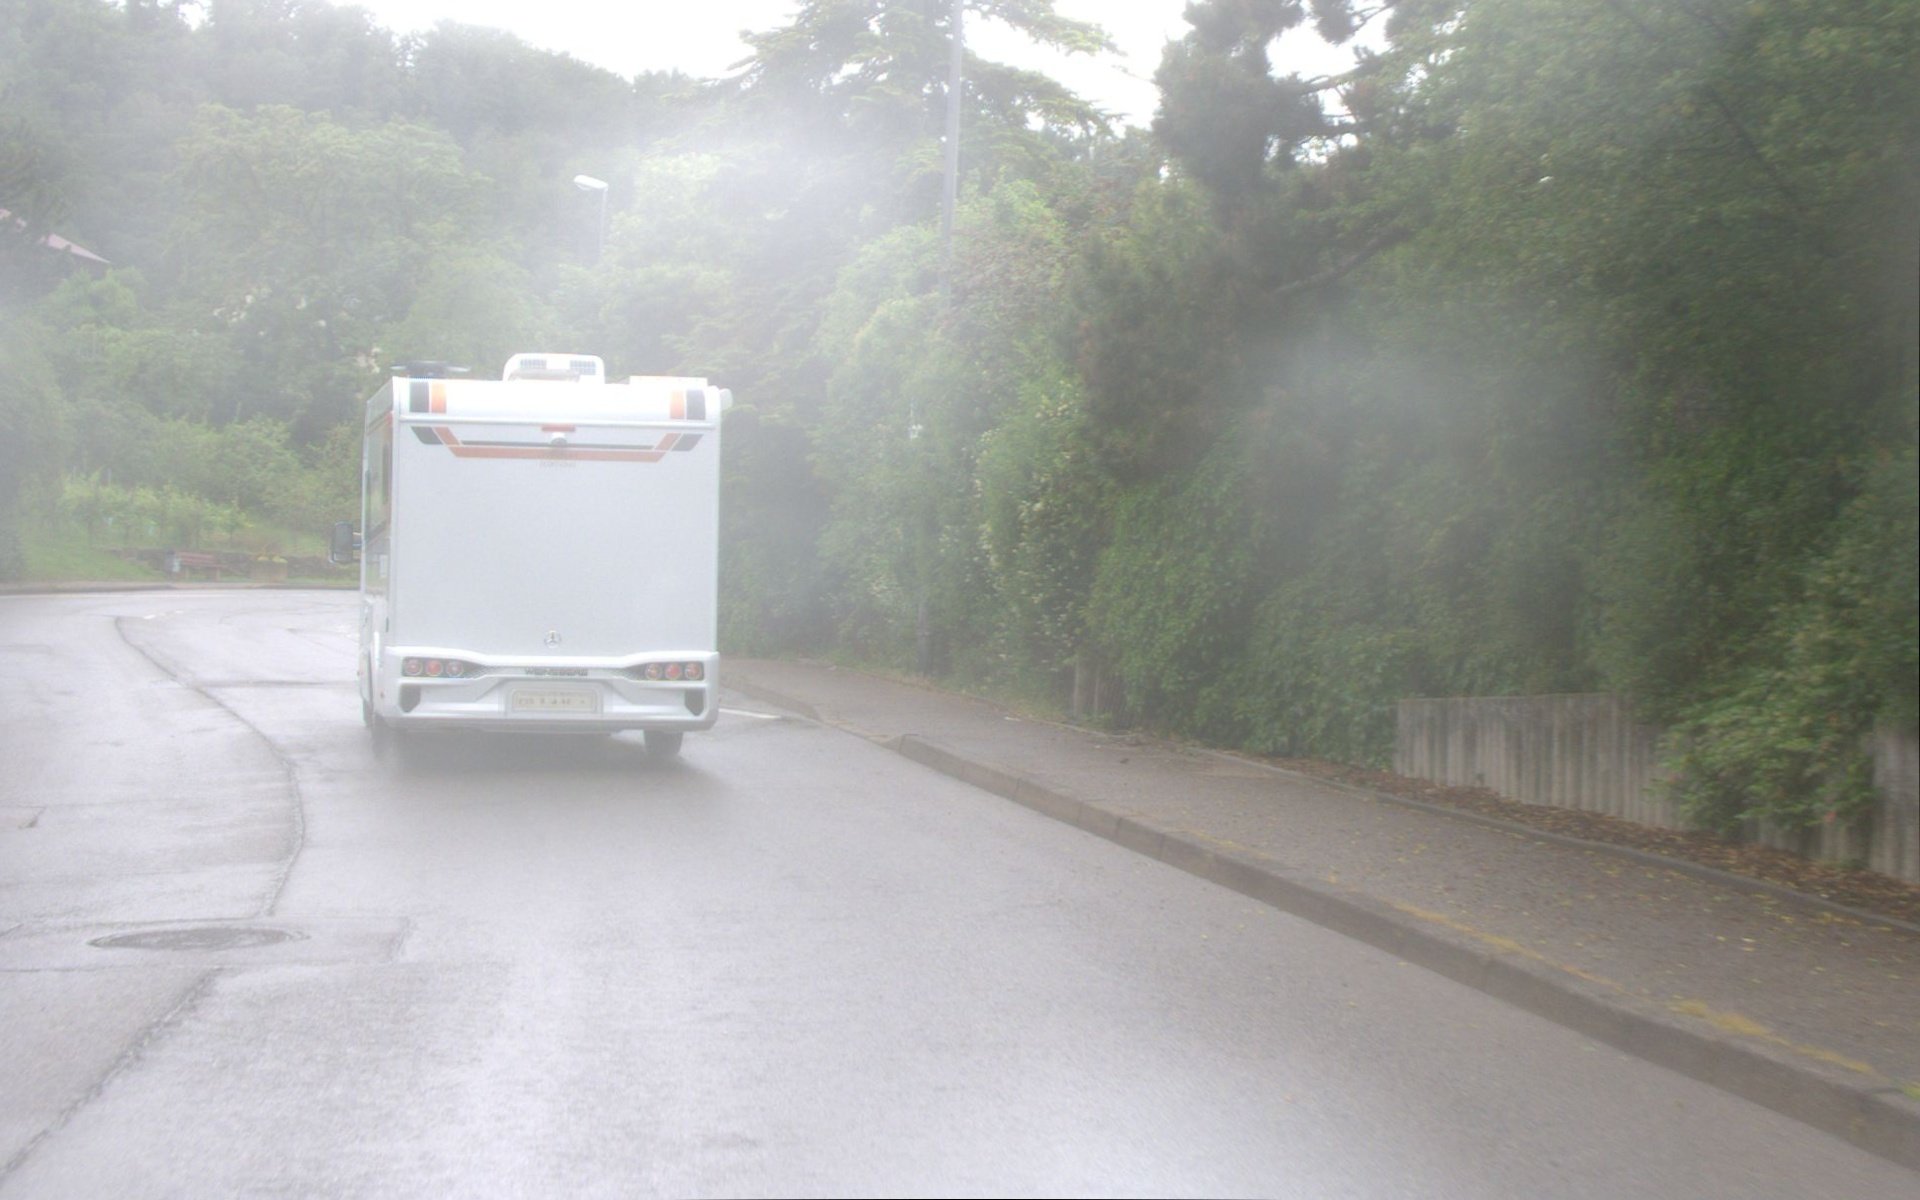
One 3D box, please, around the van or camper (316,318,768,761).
[{"bbox_3d":[-3.297,-0.368,25.708,2.615,2.843,6.032,2,-1,-13],"label":"van or camper"}]
